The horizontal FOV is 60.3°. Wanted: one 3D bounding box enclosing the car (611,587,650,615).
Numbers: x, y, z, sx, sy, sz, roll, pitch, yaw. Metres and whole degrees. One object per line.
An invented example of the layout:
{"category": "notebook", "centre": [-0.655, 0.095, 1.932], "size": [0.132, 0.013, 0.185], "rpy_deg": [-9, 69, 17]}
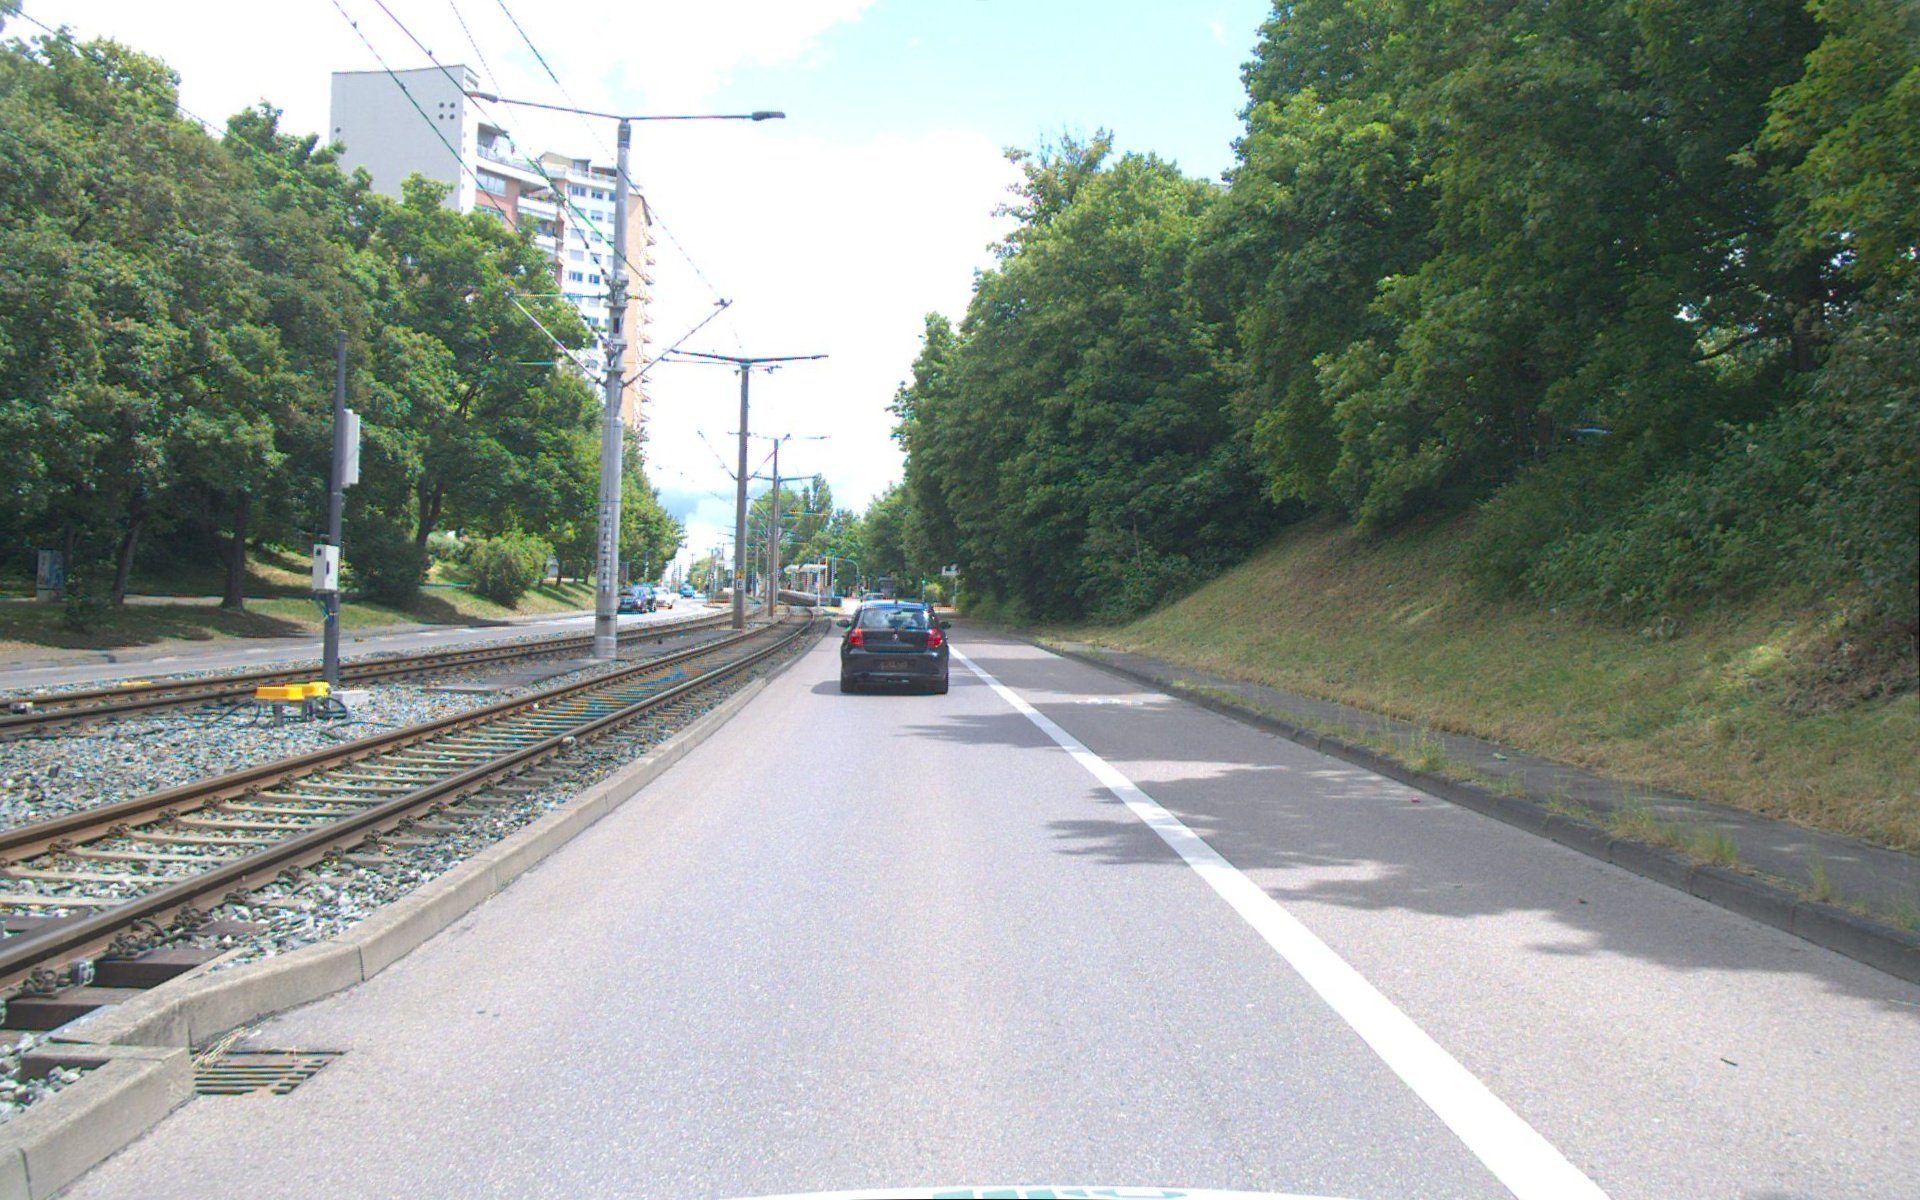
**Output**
{"category": "car", "centre": [-18.516, 0.033, 93.167], "size": [1.740, 1.524, 3.992], "rpy_deg": [1, 0, -6]}

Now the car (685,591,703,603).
{"category": "car", "centre": [-32.103, -0.346, 199.559], "size": [1.687, 1.467, 3.928], "rpy_deg": [1, 0, -14]}

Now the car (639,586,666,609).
{"category": "car", "centre": [-21.652, -0.187, 116.703], "size": [1.748, 1.559, 4.236], "rpy_deg": [0, 0, -9]}

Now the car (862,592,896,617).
{"category": "car", "centre": [-4.938, 0.255, 100.409], "size": [1.747, 1.485, 3.915], "rpy_deg": [1, 0, -7]}

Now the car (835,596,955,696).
{"category": "car", "centre": [-1.122, 0.689, 26.846], "size": [1.747, 1.485, 3.916], "rpy_deg": [0, 0, -5]}

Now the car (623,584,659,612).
{"category": "car", "centre": [-19.279, -0.103, 99.985], "size": [1.740, 1.658, 4.376], "rpy_deg": [0, -1, -6]}
